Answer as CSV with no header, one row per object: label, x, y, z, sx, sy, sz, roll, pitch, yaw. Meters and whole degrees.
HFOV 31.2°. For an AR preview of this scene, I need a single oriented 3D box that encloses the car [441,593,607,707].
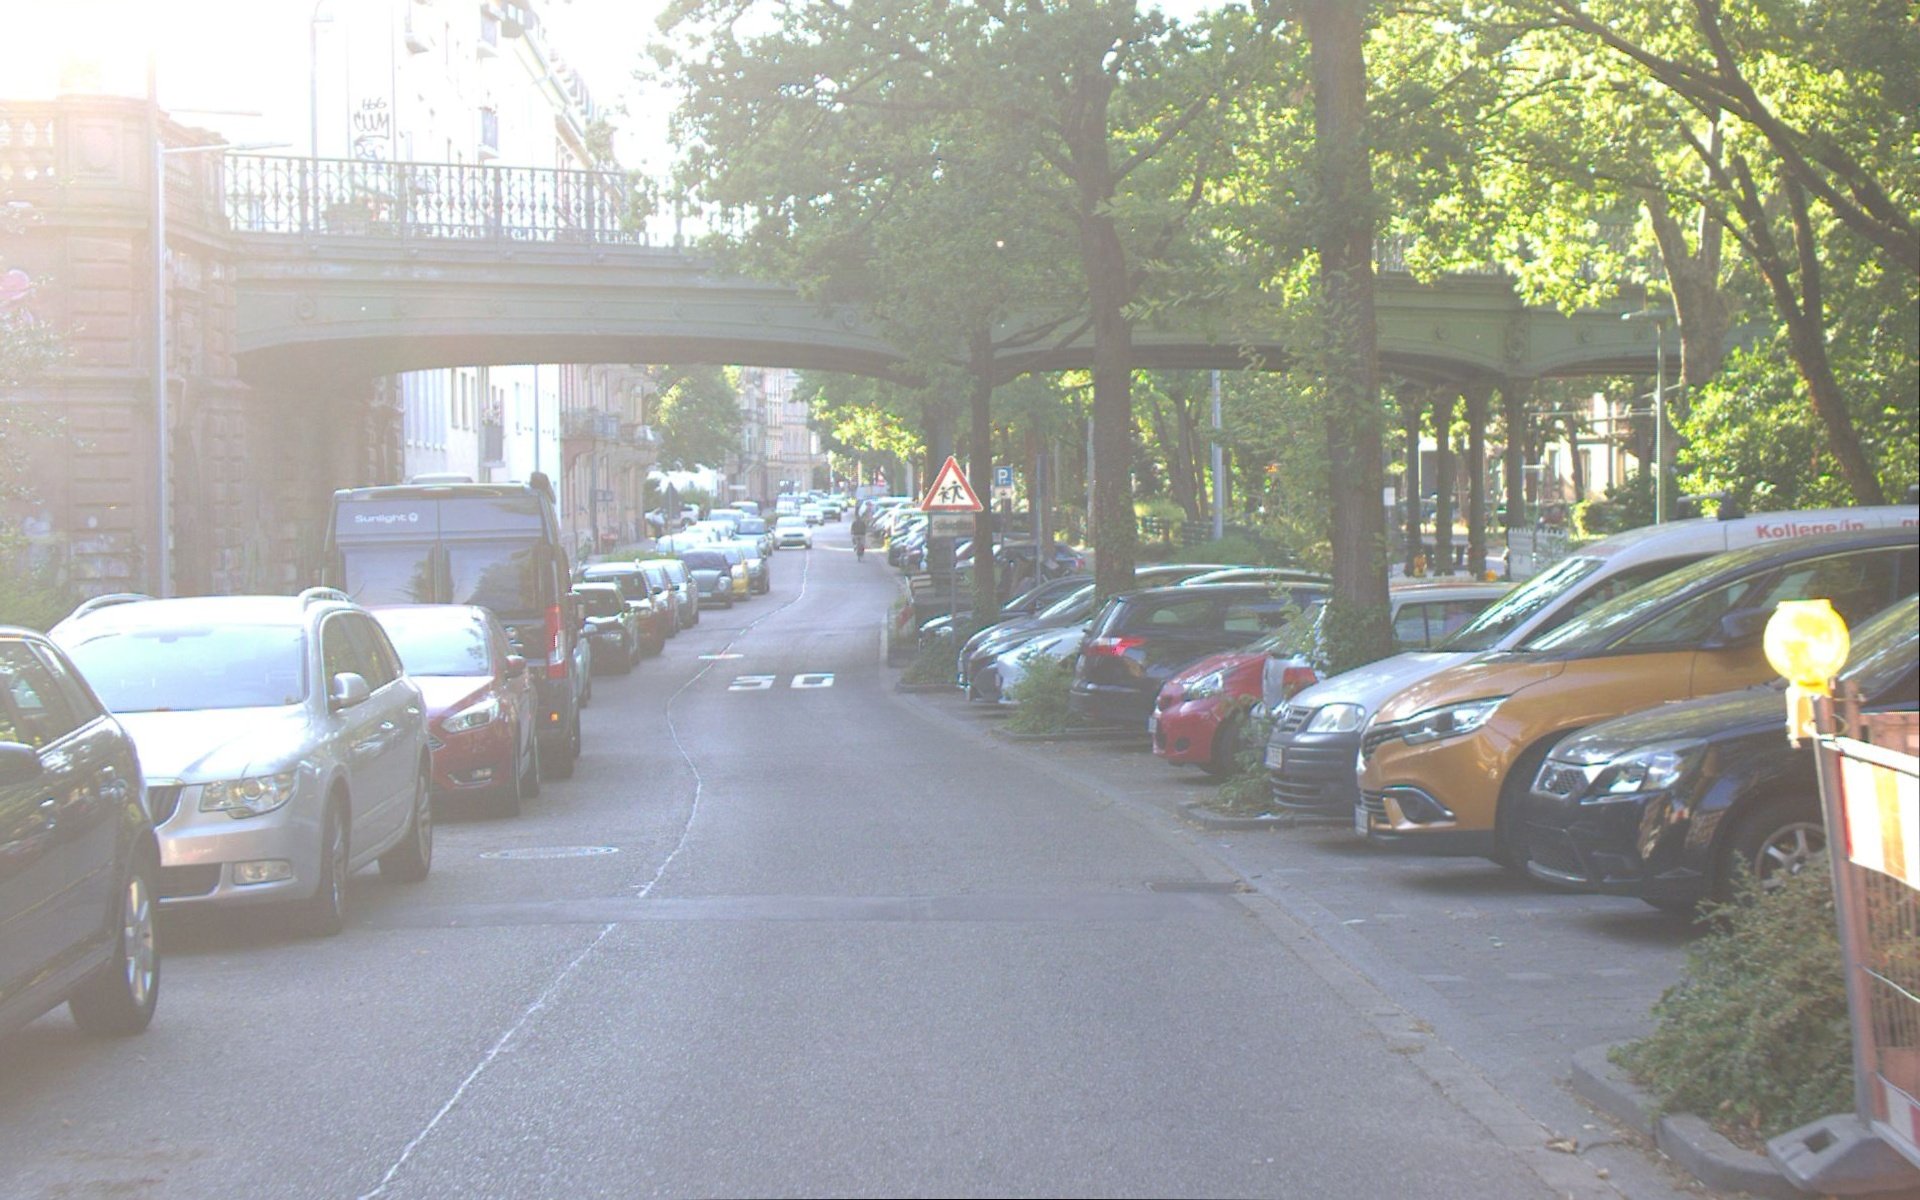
car,-5.791,0.640,46.047,1.812,1.393,3.975,-2,0,-2

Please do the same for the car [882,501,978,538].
car,-1.384,-3.690,157.905,4.387,1.604,1.781,1,-1,-1

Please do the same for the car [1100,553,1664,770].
car,3.460,0.508,28.730,4.387,1.696,1.917,1,-1,-3

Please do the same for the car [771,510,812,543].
car,-7.797,-3.380,159.345,1.812,1.393,3.975,-2,0,-2

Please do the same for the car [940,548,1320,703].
car,2.005,0.312,41.563,4.387,1.779,1.917,1,-1,-3

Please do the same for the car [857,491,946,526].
car,-2.930,-4.577,171.941,4.387,1.604,1.781,1,-1,-1

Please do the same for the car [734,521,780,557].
car,-8.634,-2.593,146.358,1.812,1.393,3.975,-2,0,-2

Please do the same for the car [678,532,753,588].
car,-6.497,-1.048,91.550,1.812,1.393,3.975,-2,0,-2

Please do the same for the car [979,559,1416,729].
car,2.465,0.464,36.394,4.387,1.696,1.917,1,-1,-3

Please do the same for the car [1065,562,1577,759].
car,3.248,0.550,31.492,4.387,1.696,1.917,1,-1,-3

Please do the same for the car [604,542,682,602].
car,-8.432,-0.730,91.600,1.812,1.495,3.975,-2,0,-2

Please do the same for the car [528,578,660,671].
car,-5.893,0.382,55.653,1.812,1.393,3.975,-2,0,-2

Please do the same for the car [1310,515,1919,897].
car,4.021,0.503,16.508,4.387,1.696,1.917,1,-1,-3

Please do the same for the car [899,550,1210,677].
car,1.352,0.206,50.460,4.387,1.779,1.917,1,-1,-3

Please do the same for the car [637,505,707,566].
car,-8.449,-1.888,101.054,1.812,1.660,3.975,-2,0,-2

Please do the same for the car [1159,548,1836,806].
car,3.707,0.531,24.219,4.387,1.696,1.917,1,-1,-3

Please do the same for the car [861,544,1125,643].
car,0.542,-0.102,58.935,4.387,1.604,1.781,1,-1,-3

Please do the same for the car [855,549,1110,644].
car,0.371,-0.058,60.924,4.387,1.604,1.781,1,-1,-3

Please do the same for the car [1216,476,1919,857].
car,3.947,0.377,19.304,4.741,1.990,1.917,1,-1,-4

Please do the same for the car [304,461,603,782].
car,-4.258,0.169,29.758,2.047,2.489,5.698,1,0,-4

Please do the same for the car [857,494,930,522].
car,-4.006,-5.558,207.927,4.387,1.604,1.781,1,-1,-1

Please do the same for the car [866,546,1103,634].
car,0.433,-0.184,65.447,4.387,1.604,1.781,1,-1,-3

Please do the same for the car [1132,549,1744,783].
car,3.631,0.502,26.631,4.387,1.696,1.917,1,-1,-3

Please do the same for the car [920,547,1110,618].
car,1.266,-0.409,81.014,4.387,1.604,1.781,1,-1,-1

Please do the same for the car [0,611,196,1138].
car,-3.517,0.782,10.137,1.715,1.413,4.107,-2,0,-2

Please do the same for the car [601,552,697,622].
car,-6.646,-0.280,73.775,1.812,1.393,3.975,-2,0,-2

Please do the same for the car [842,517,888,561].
car,-3.754,-2.409,136.236,1.775,1.604,4.402,1,-1,-1

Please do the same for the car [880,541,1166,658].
car,0.970,0.005,54.761,4.387,1.779,1.917,1,-1,-3

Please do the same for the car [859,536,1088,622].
car,0.242,-0.393,67.494,4.387,1.604,1.781,1,-1,-3

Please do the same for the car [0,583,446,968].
car,-3.543,0.697,15.967,1.812,1.435,4.351,1,1,-2

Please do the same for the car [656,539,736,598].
car,-6.619,-0.781,86.578,1.812,1.393,3.975,-2,0,-2

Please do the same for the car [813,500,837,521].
car,-10.213,-6.784,260.195,1.812,1.393,4.612,-2,0,-2

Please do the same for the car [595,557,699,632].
car,-6.176,-0.111,68.151,1.812,1.393,3.975,-2,0,-2

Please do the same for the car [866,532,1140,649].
car,0.679,-0.142,56.912,4.387,1.855,1.917,1,-1,-3

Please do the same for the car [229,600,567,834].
car,-3.906,0.761,24.551,1.812,1.448,4.351,-2,0,-2

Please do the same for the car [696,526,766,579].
car,-6.449,-1.334,96.945,1.812,1.393,3.975,-2,0,-2

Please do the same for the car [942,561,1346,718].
car,2.053,0.448,39.196,4.387,1.696,1.917,1,-1,-3

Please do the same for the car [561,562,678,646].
car,-6.069,0.067,61.643,1.812,1.393,3.975,-2,0,-2

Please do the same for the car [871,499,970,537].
car,-1.788,-3.664,154.346,4.387,1.604,1.781,1,-1,-1

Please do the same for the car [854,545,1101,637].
car,0.299,-0.160,62.860,4.387,1.604,1.781,1,-1,-3

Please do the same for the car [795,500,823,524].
car,-10.098,-5.884,230.263,1.812,1.393,4.612,-2,0,-2

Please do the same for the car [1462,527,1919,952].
car,4.453,0.560,14.137,4.386,1.601,1.917,1,-1,-5
